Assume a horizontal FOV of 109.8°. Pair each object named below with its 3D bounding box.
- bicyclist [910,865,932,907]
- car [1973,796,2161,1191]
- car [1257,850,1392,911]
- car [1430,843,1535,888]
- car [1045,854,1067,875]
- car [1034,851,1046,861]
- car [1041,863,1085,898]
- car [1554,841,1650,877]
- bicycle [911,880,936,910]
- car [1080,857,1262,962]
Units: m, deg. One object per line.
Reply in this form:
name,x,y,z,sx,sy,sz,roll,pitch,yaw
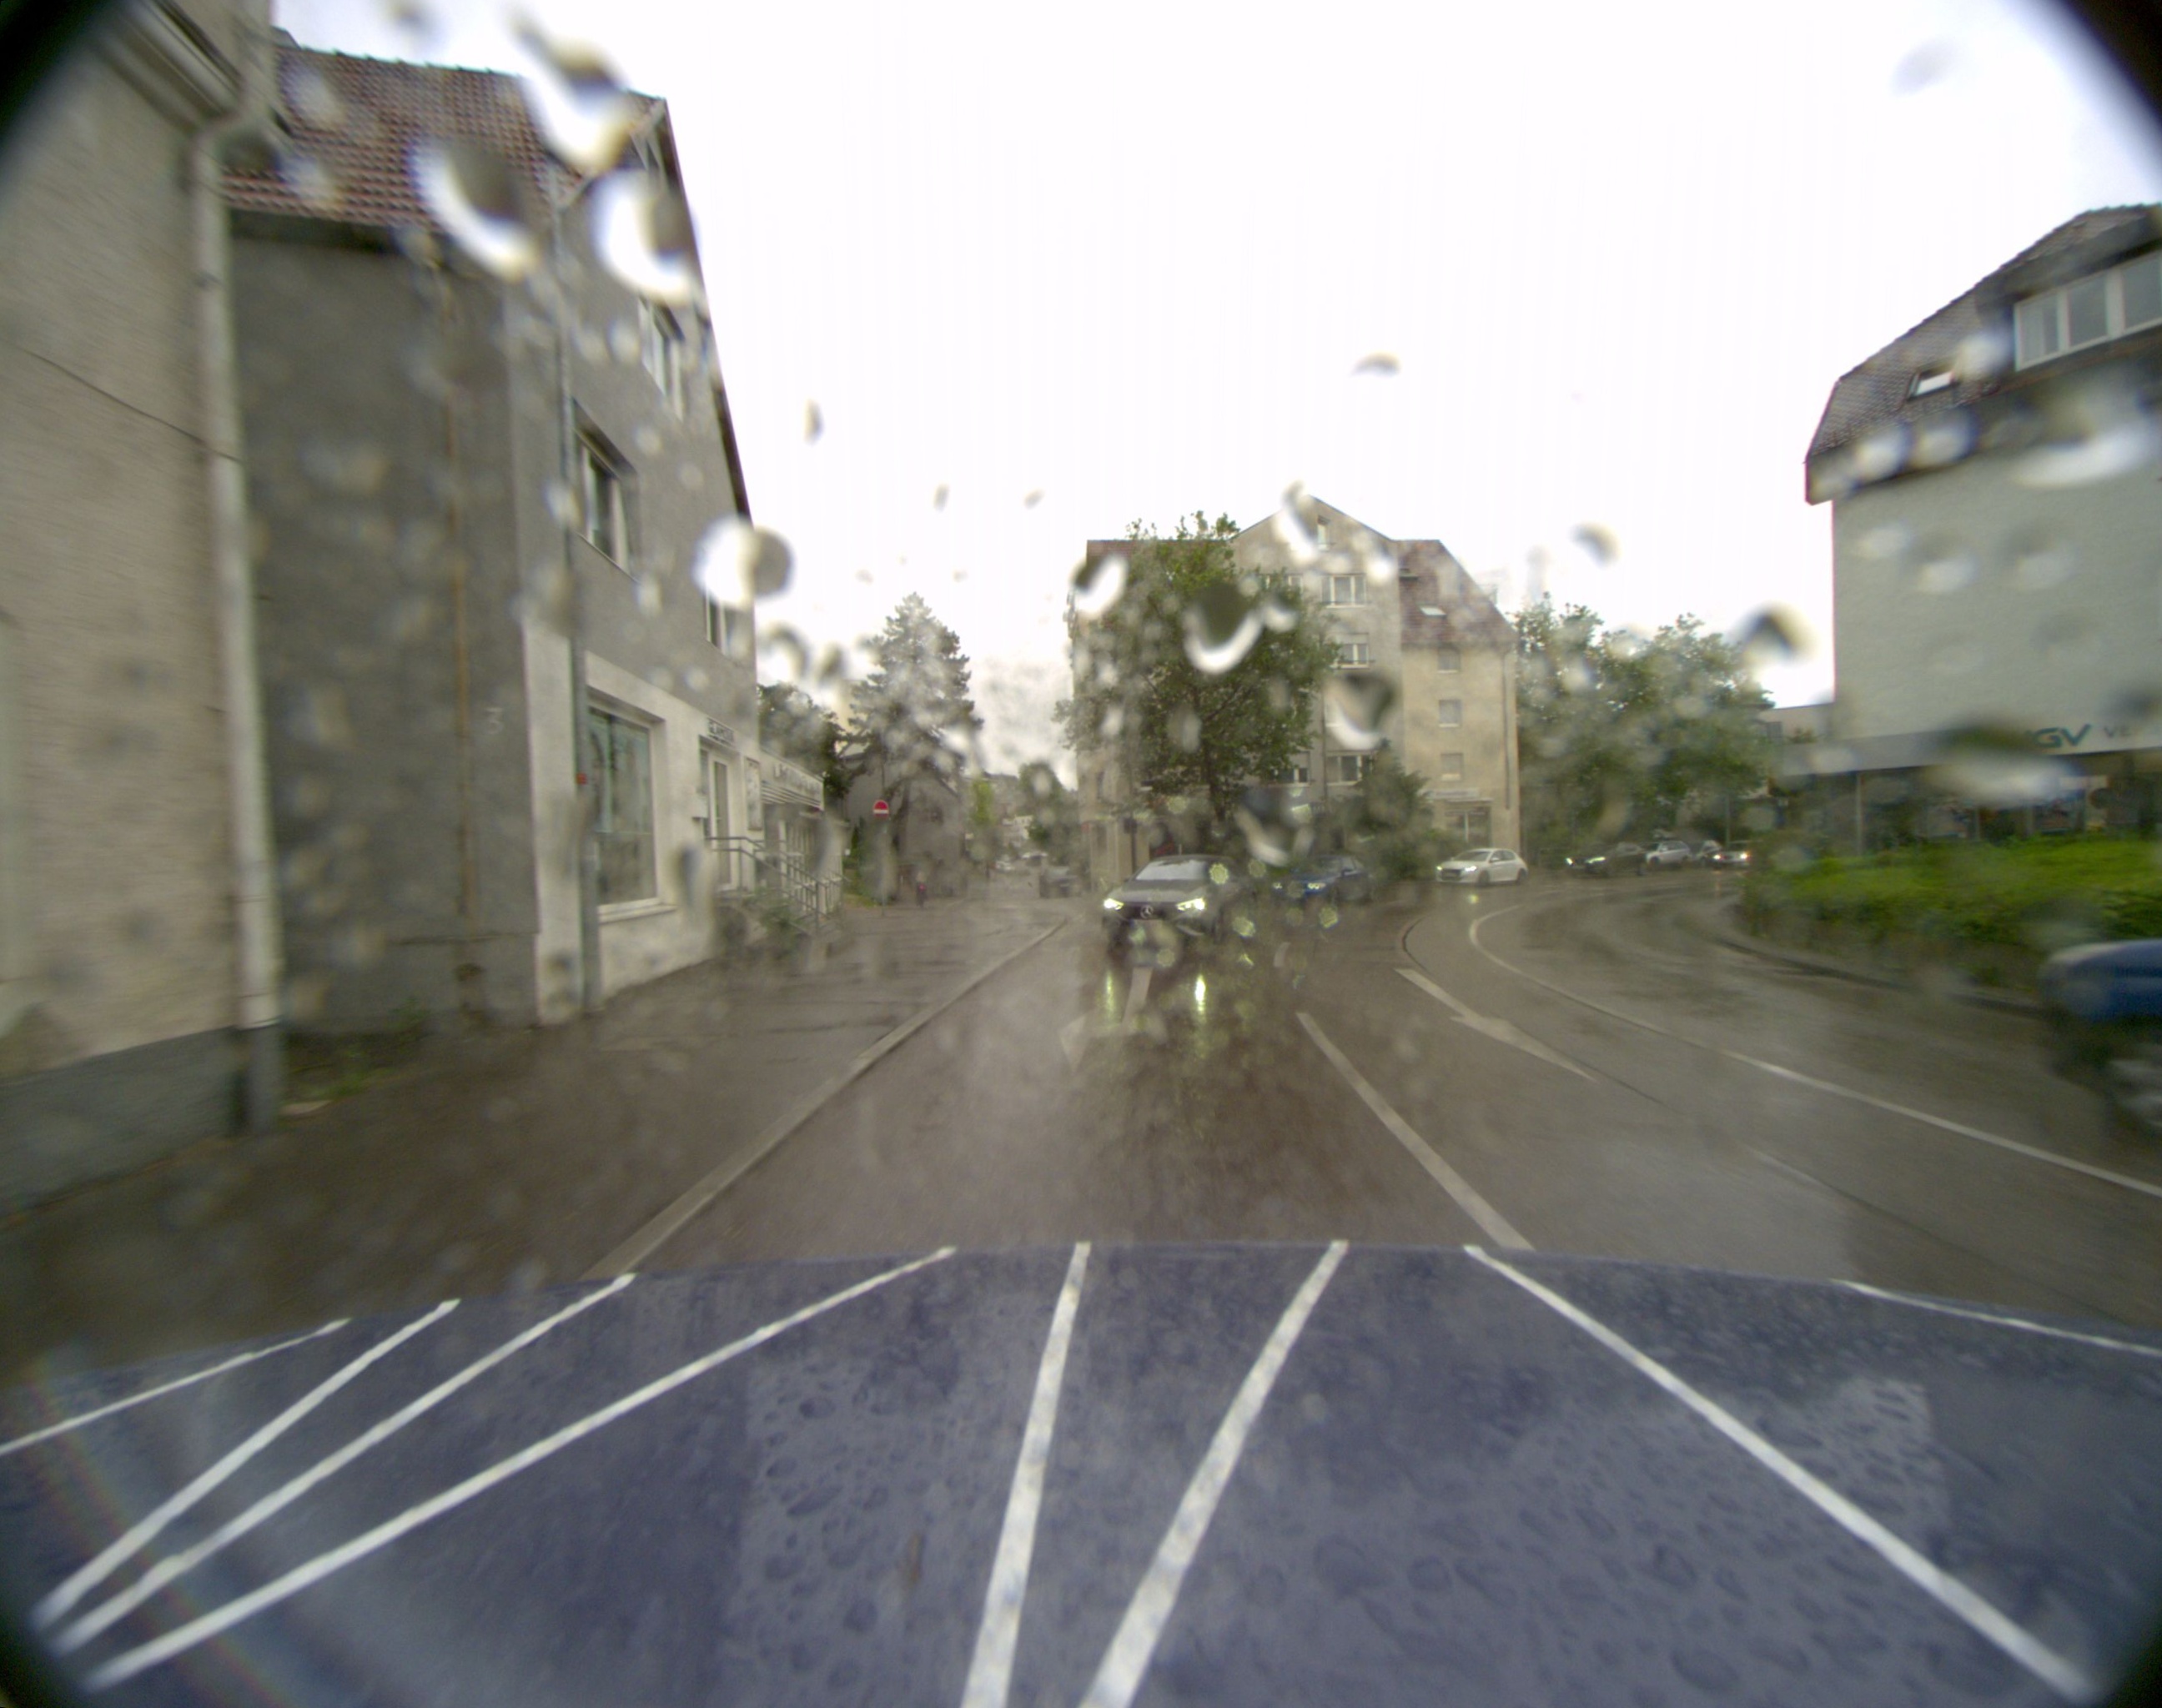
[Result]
bicyclist,-5.953,1.175,28.214,0.686,1.509,1.029,-2,0,-17
car,6.053,0.663,2.148,1.998,1.871,4.378,-1,1,2
car,7.038,0.704,21.716,4.386,1.523,1.770,-1,-1,-44
car,15.611,0.434,29.505,4.006,1.556,1.810,-1,-1,-32
car,-2.577,1.055,77.581,1.999,1.566,3.996,-9,4,-3
car,-7.221,0.422,134.177,1.999,1.563,4.001,-1,-1,0
car,-0.973,1.326,39.100,1.999,1.641,3.999,-2,0,-4
car,23.610,0.231,34.403,4.006,1.444,1.996,-2,0,-30
bicycle,-5.855,1.484,28.159,0.764,1.028,2.078,-2,-1,-16
car,1.815,0.869,13.812,1.995,1.484,4.321,-1,0,25
